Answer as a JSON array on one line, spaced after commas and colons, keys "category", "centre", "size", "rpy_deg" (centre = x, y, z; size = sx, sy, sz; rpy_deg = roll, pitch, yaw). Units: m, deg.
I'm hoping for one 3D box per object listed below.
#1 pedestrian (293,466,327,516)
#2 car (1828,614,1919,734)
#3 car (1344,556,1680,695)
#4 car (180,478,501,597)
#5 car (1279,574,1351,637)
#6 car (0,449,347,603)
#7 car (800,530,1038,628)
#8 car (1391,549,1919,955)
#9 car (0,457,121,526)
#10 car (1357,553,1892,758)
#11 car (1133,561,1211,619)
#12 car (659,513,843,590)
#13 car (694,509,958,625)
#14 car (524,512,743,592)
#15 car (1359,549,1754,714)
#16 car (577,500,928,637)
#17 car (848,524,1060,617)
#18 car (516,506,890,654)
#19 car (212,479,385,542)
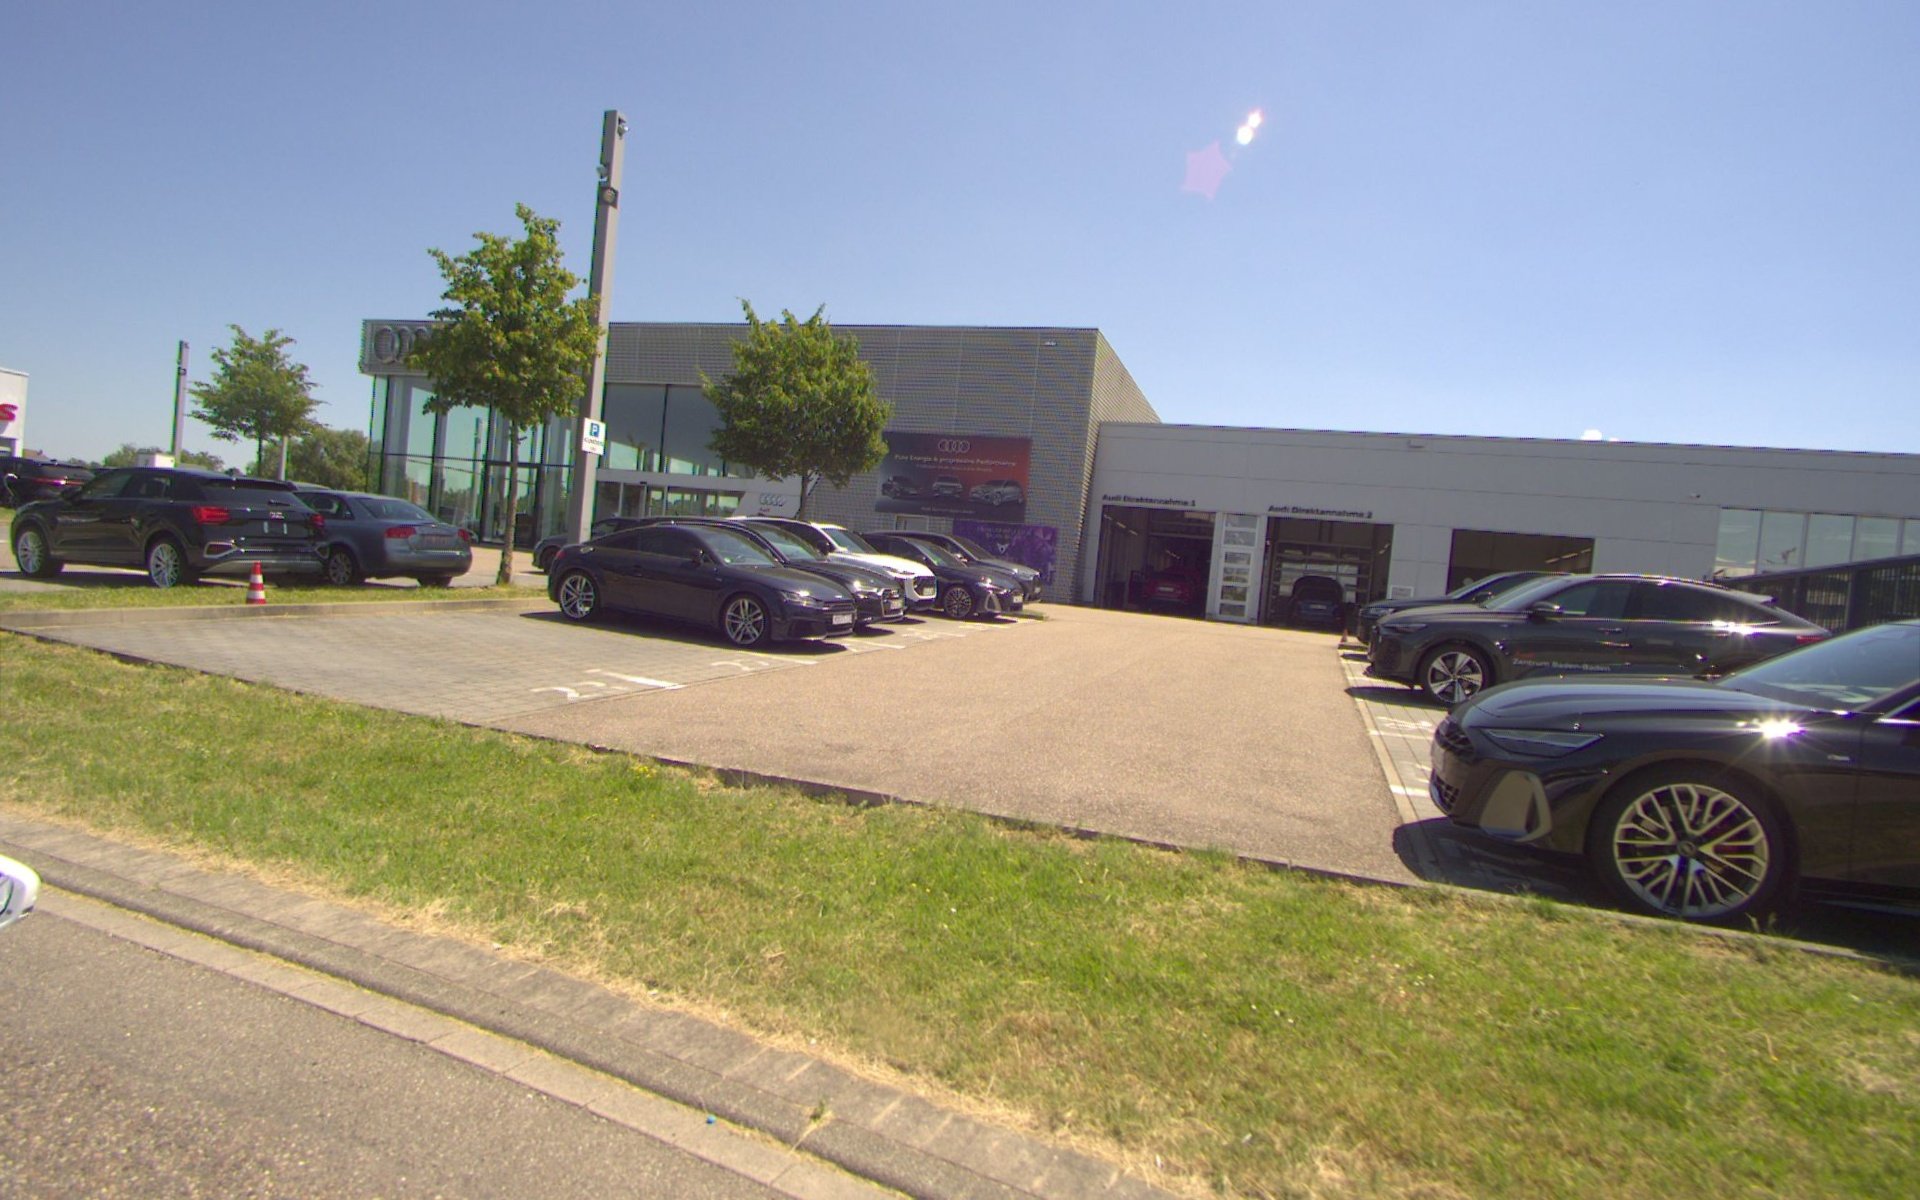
[{"category": "pedestrian", "centre": [-25.321, -4.244, 39.187], "size": [0.731, 1.799, 0.772], "rpy_deg": [6, 2, 24]}, {"category": "car", "centre": [15.670, 1.254, 14.425], "size": [4.295, 1.652, 1.966], "rpy_deg": [6, 2, 18]}, {"category": "car", "centre": [9.078, 0.338, 17.070], "size": [4.539, 1.767, 1.964], "rpy_deg": [6, 4, 18]}, {"category": "car", "centre": [-9.489, -0.954, 15.471], "size": [4.148, 1.385, 1.965], "rpy_deg": [6, 3, 18]}, {"category": "car", "centre": [11.730, 0.114, 33.225], "size": [1.931, 1.767, 4.245], "rpy_deg": [6, 4, 20]}, {"category": "car", "centre": [-10.467, -0.978, 13.180], "size": [4.148, 1.593, 1.890], "rpy_deg": [6, 3, 18]}, {"category": "car", "centre": [-0.803, -0.440, 20.348], "size": [4.290, 1.497, 1.966], "rpy_deg": [6, 2, 18]}, {"category": "car", "centre": [4.835, 0.749, 4.674], "size": [4.929, 1.475, 1.883], "rpy_deg": [6, 3, 18]}, {"category": "car", "centre": [-24.390, -2.838, 25.952], "size": [4.893, 1.476, 1.966], "rpy_deg": [4, 1, 19]}, {"category": "car", "centre": [7.262, 0.513, 11.660], "size": [4.696, 1.666, 1.827], "rpy_deg": [6, 4, 18]}, {"category": "car", "centre": [7.503, -0.384, 35.262], "size": [1.931, 1.767, 4.314], "rpy_deg": [6, 4, 20]}, {"category": "car", "centre": [-5.544, -1.281, 26.760], "size": [4.345, 1.614, 1.964], "rpy_deg": [6, 4, 21]}, {"category": "car", "centre": [-2.402, -0.600, 18.275], "size": [4.208, 1.635, 1.966], "rpy_deg": [6, 2, 18]}, {"category": "car", "centre": [-7.433, -1.104, 22.978], "size": [4.382, 1.385, 1.965], "rpy_deg": [6, 3, 18]}, {"category": "car", "centre": [8.081, 0.392, 14.155], "size": [4.334, 1.716, 1.830], "rpy_deg": [6, 1, 18]}, {"category": "car", "centre": [-3.197, -0.507, 15.615], "size": [4.911, 1.574, 1.966], "rpy_deg": [6, 2, 18]}, {"category": "car", "centre": [-0.127, -0.727, 24.461], "size": [4.640, 1.762, 1.966], "rpy_deg": [6, 2, 18]}, {"category": "car", "centre": [-3.287, -0.279, 13.045], "size": [4.230, 1.393, 1.966], "rpy_deg": [6, 2, 18]}, {"category": "car", "centre": [-20.969, -2.836, 31.890], "size": [4.893, 1.642, 1.966], "rpy_deg": [4, 1, 19]}]
